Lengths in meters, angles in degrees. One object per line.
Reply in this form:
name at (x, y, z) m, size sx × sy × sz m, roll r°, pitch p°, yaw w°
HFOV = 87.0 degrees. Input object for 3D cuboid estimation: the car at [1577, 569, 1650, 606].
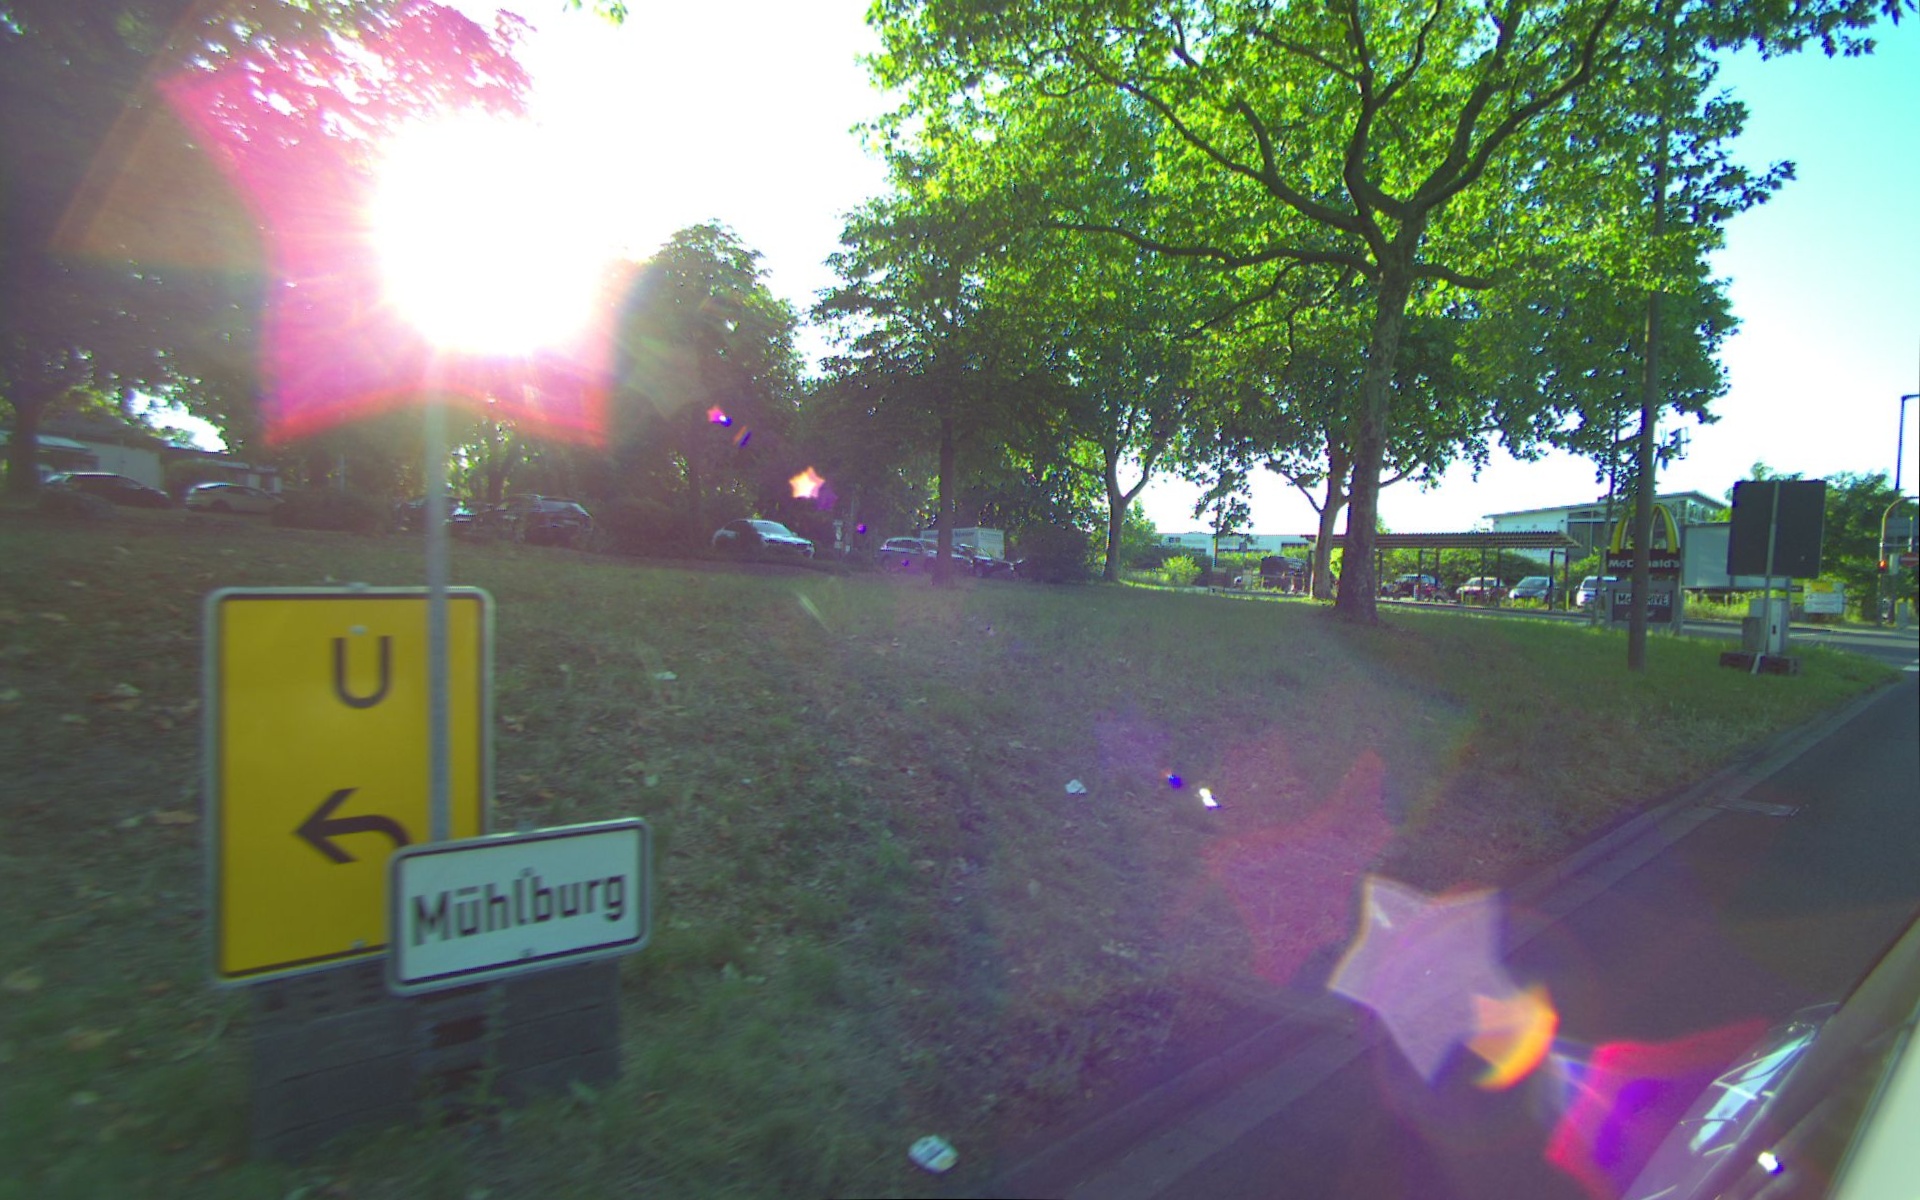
car at (32.561, -0.598, 50.391) m, size 4.157 × 1.668 × 2.116 m, roll 1°, pitch 3°, yaw -44°

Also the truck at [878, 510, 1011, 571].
truck at (-1.307, -4.267, 71.902) m, size 3.137 × 3.923 × 11.092 m, roll 1°, pitch 3°, yaw -39°

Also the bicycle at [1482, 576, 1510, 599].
bicycle at (25.617, -0.578, 48.364) m, size 1.861 × 1.051 × 0.543 m, roll 0°, pitch 3°, yaw -42°

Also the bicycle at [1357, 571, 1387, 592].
bicycle at (21.567, -0.942, 52.948) m, size 1.859 × 1.051 × 0.544 m, roll 1°, pitch 2°, yaw -38°

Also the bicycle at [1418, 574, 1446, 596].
bicycle at (23.628, -0.735, 50.686) m, size 1.861 × 1.051 × 0.543 m, roll 0°, pitch 3°, yaw -42°

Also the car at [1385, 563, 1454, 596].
car at (26.243, -1.172, 57.770) m, size 4.248 × 1.668 × 2.116 m, roll 1°, pitch 3°, yaw -44°

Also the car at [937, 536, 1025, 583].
car at (0.818, -1.672, 41.105) m, size 1.649 × 1.751 × 3.500 m, roll 1°, pitch 3°, yaw -40°

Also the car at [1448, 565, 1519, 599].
car at (28.381, -0.952, 54.859) m, size 4.248 × 1.668 × 2.116 m, roll 1°, pitch 3°, yaw -44°

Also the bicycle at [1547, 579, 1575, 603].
bicycle at (27.399, -0.400, 46.138) m, size 1.861 × 1.051 × 0.543 m, roll 0°, pitch 3°, yaw -42°

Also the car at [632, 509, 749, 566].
car at (-8.829, -2.057, 33.009) m, size 1.798 × 1.708 × 4.215 m, roll 0°, pitch 3°, yaw -45°

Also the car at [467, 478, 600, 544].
car at (-12.288, -2.536, 29.063) m, size 4.207 × 1.708 × 1.802 m, roll 4°, pitch 3°, yaw 40°

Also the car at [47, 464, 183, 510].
car at (-34.870, -4.639, 41.870) m, size 1.793 × 1.571 × 3.958 m, roll 3°, pitch 3°, yaw 30°

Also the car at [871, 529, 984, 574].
car at (-1.323, -1.916, 39.561) m, size 2.008 × 1.593 × 4.396 m, roll 0°, pitch 3°, yaw -42°

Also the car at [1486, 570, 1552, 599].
car at (36.406, -1.015, 65.906) m, size 3.922 × 1.656 × 2.122 m, roll 1°, pitch 2°, yaw -34°

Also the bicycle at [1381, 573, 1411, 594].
bicycle at (22.393, -0.855, 52.011) m, size 1.859 × 1.051 × 0.544 m, roll 1°, pitch 2°, yaw -38°

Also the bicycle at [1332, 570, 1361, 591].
bicycle at (20.723, -1.050, 54.219) m, size 1.859 × 1.051 × 0.544 m, roll 1°, pitch 2°, yaw -38°

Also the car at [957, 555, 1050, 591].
car at (2.145, -1.342, 49.998) m, size 4.168 × 1.574 × 1.835 m, roll 2°, pitch 2°, yaw -20°

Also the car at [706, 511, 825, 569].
car at (-6.664, -2.049, 34.229) m, size 1.963 × 1.727 × 4.900 m, roll 1°, pitch 3°, yaw -37°

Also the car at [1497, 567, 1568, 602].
car at (29.656, -0.793, 52.397) m, size 3.934 × 1.668 × 2.116 m, roll 1°, pitch 3°, yaw -44°
